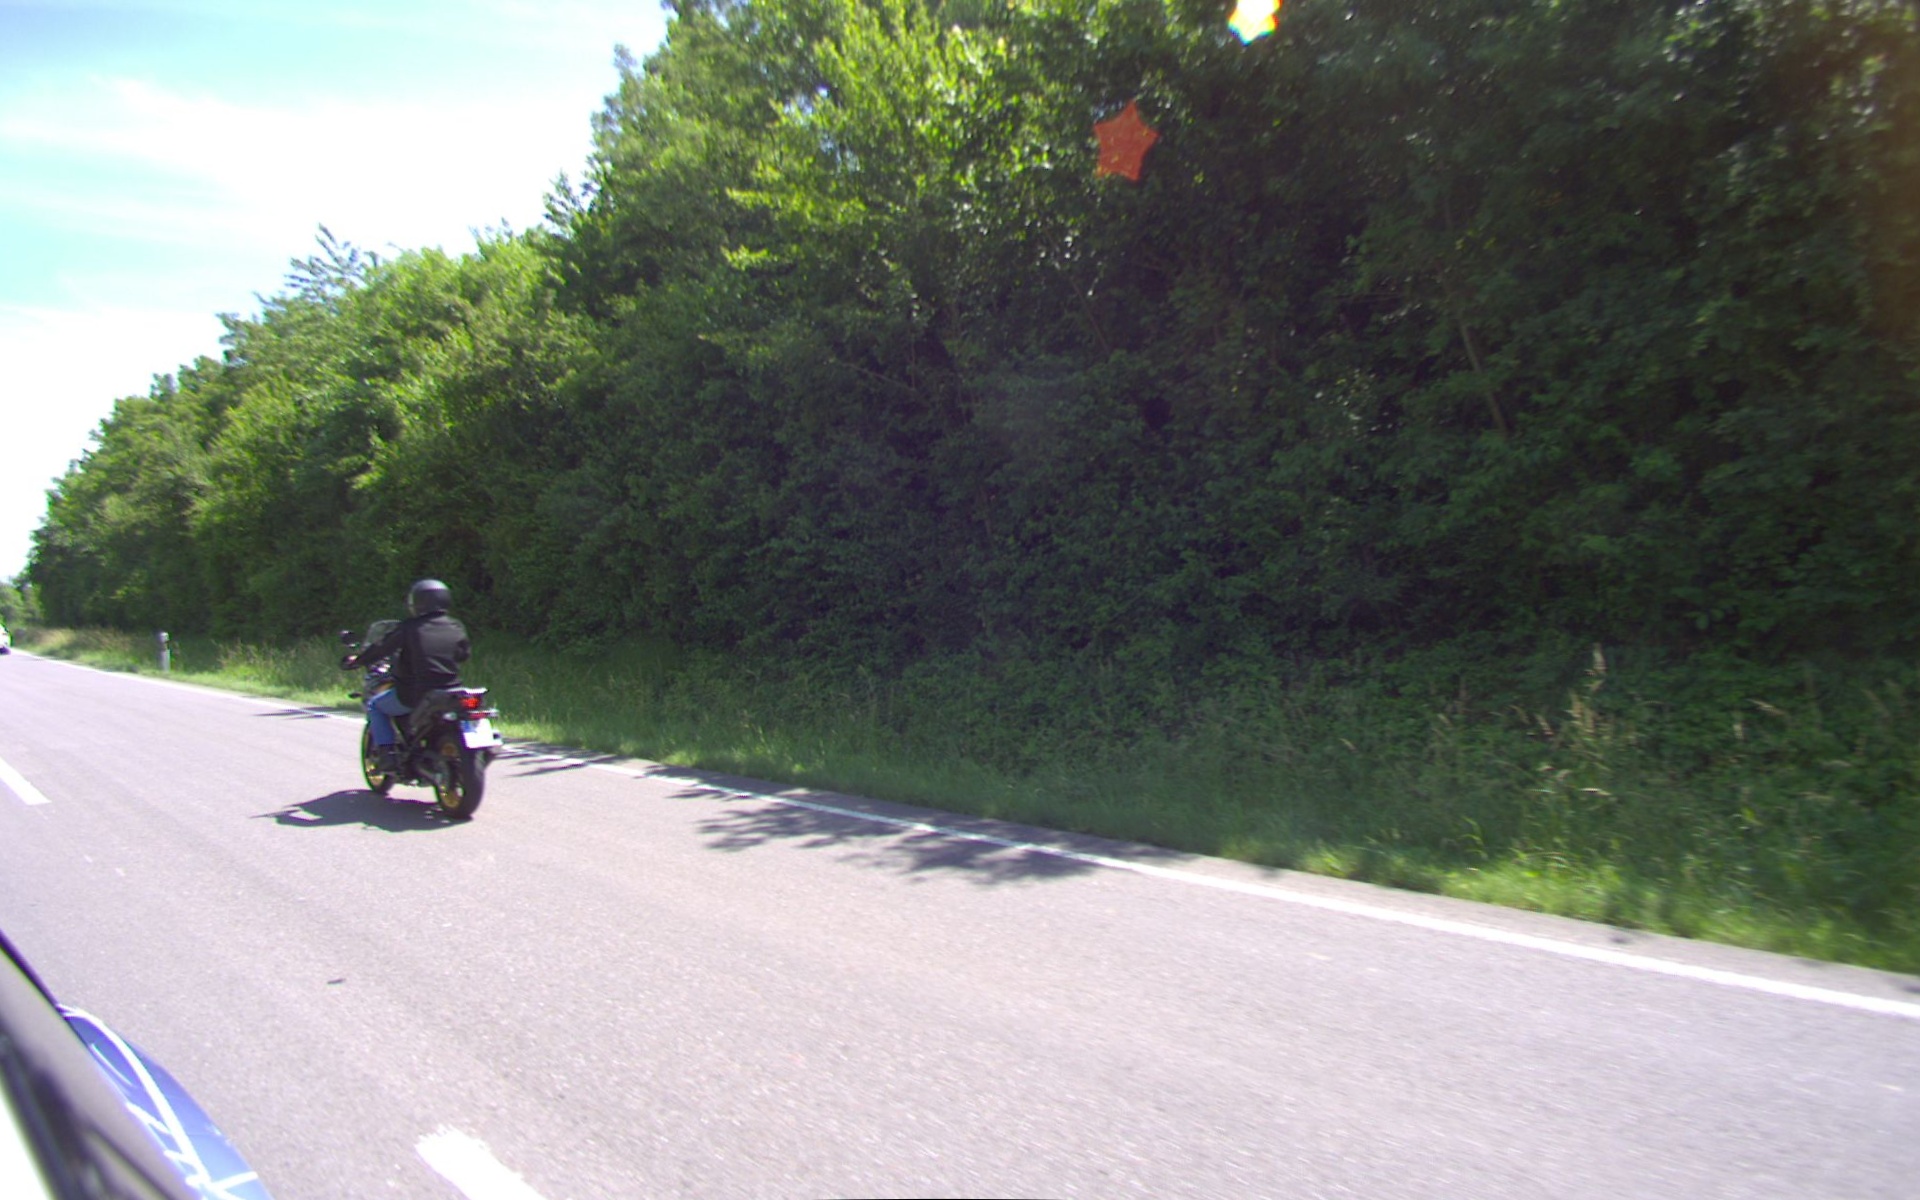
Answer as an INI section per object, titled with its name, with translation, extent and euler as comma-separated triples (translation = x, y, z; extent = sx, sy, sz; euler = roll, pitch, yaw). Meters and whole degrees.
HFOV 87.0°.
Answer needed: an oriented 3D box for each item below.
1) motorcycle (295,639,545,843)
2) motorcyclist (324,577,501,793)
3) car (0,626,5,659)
[motorcycle]
translation = -4.049, 0.923, 7.466
extent = 2.442, 1.230, 0.854
euler = -1, -1, 42
[motorcyclist]
translation = -4.051, 0.579, 7.483
extent = 1.073, 1.448, 0.840
euler = -2, -1, 42
[car]
translation = -44.420, 1.908, 45.577
extent = 4.758, 1.472, 1.660
euler = -1, -1, 42
